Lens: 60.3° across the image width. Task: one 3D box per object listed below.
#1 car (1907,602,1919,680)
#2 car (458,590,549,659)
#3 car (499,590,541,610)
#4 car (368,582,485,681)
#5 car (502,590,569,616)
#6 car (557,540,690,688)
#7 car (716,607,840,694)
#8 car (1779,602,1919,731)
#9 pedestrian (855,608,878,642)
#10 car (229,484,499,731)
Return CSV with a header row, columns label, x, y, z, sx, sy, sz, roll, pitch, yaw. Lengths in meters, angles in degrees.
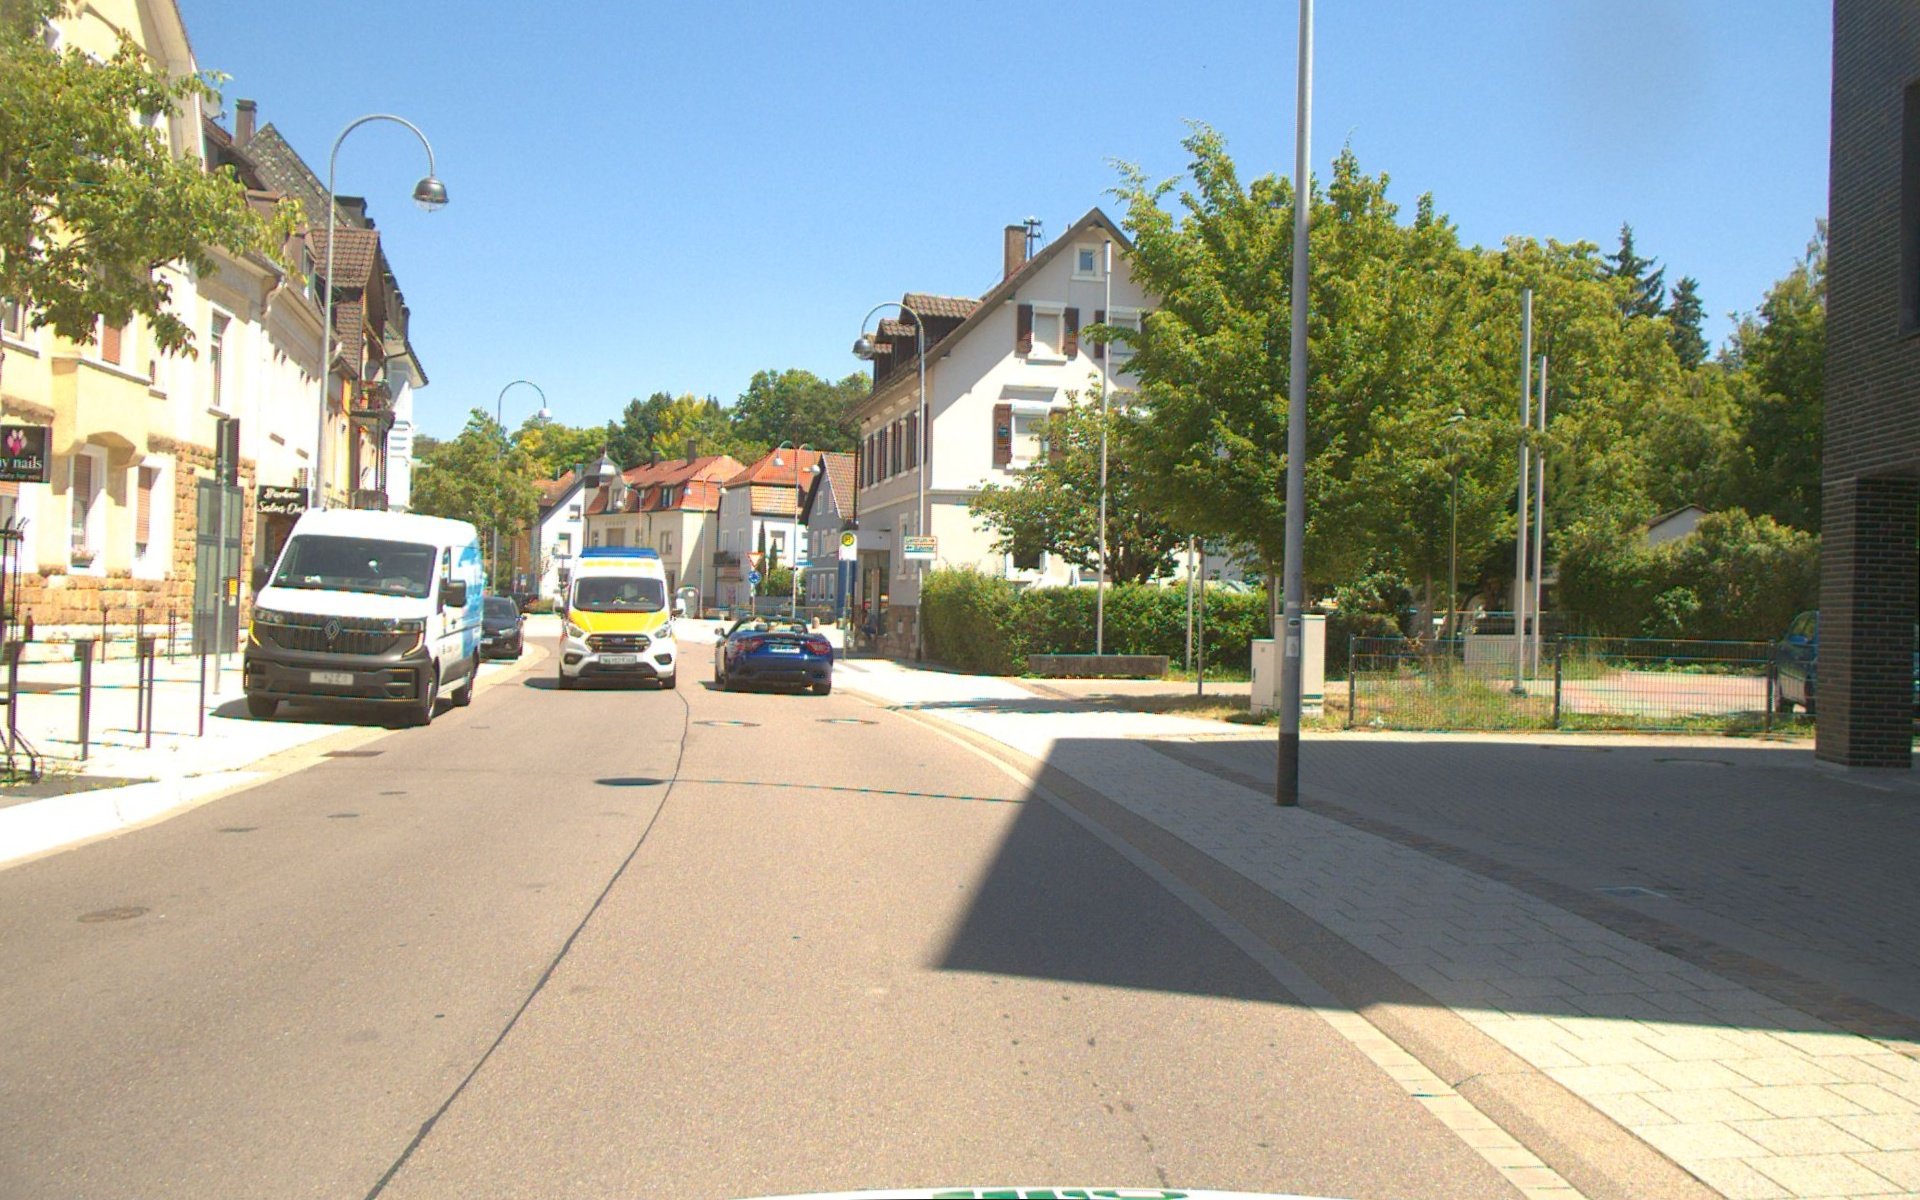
label,x,y,z,sx,sy,sz,roll,pitch,yaw
car,18.909,0.785,30.639,1.832,1.466,3.999,1,0,22
car,-11.373,0.573,41.450,1.882,1.507,4.323,4,-1,-13
car,-37.309,-0.024,140.212,1.840,1.616,3.939,0,0,-42
car,-9.137,0.537,28.543,1.533,1.547,3.504,3,-1,-13
car,-22.643,0.134,88.133,1.980,1.353,4.142,1,0,-39
car,-5.981,0.233,29.677,2.117,2.403,5.234,0,0,-11
car,-3.367,0.866,30.005,1.876,1.384,4.274,3,-1,-11
car,11.782,0.786,21.082,1.773,1.466,4.175,1,0,18
pedestrian,-2.902,0.776,51.220,0.580,1.017,0.721,0,0,-13
car,-7.178,0.098,20.576,2.054,2.541,5.490,3,-1,-10
